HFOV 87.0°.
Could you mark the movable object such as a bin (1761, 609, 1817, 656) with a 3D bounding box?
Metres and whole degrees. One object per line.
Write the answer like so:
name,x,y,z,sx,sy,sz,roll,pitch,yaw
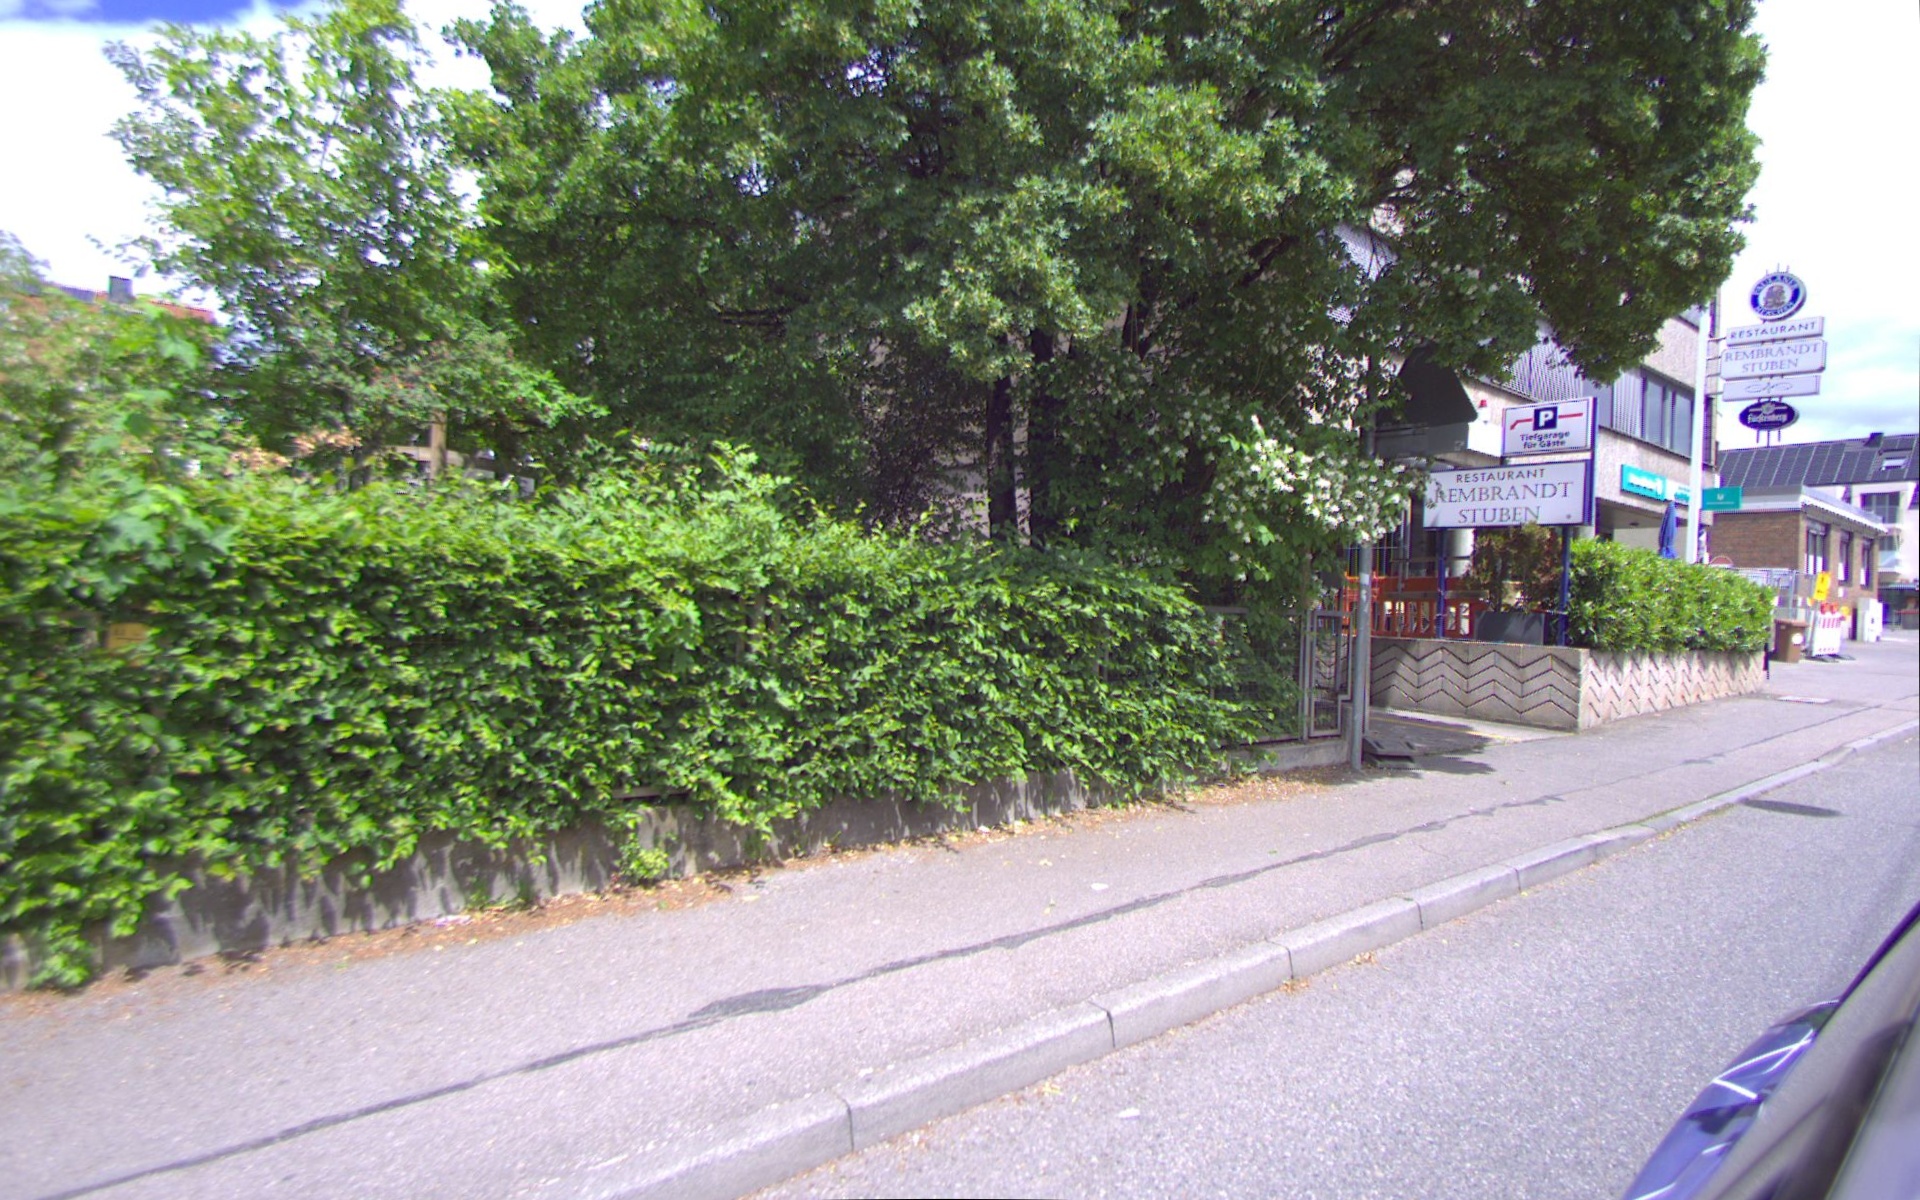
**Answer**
movable object such as a bin,18.058,0.703,22.043,0.462,0.925,0.790,0,5,-39
